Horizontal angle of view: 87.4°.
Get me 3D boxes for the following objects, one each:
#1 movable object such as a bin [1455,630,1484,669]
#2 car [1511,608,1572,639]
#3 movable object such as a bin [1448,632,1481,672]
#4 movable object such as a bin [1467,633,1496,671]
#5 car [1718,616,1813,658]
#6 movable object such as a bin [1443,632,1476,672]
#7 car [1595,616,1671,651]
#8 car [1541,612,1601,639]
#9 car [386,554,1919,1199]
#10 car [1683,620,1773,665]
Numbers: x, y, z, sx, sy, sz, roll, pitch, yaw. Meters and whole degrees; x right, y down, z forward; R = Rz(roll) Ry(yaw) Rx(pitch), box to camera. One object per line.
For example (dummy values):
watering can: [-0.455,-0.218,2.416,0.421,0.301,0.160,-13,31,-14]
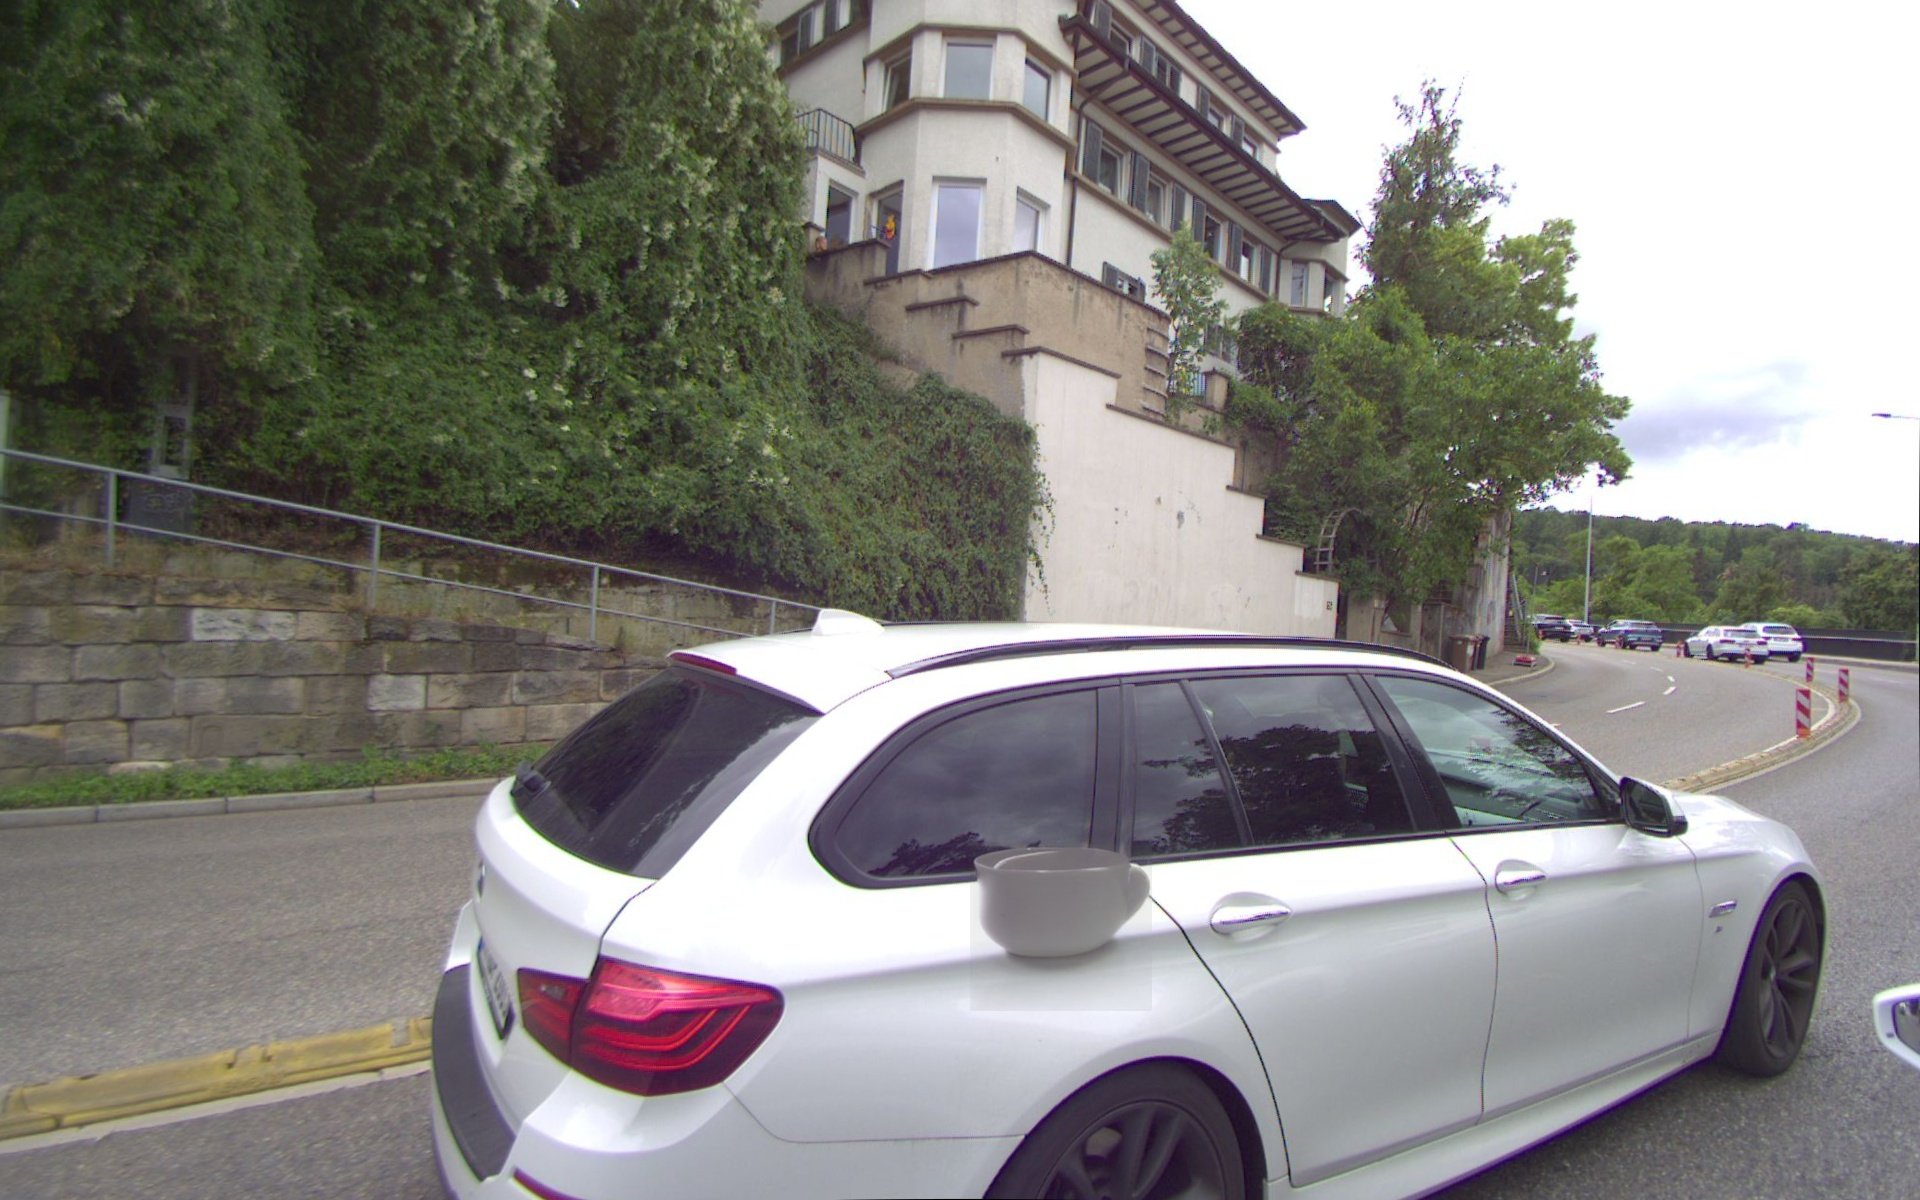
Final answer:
movable object such as a bin: [13.442,1.302,26.481,0.536,0.961,0.564,4,2,39]
car: [37.038,1.448,64.092,1.785,1.712,4.002,3,1,6]
movable object such as a bin: [13.009,1.333,25.891,0.599,0.961,0.578,4,2,39]
movable object such as a bin: [13.971,1.373,26.907,0.536,0.961,0.564,4,2,39]
car: [36.341,1.633,45.441,1.960,1.607,4.000,3,1,18]
movable object such as a bin: [12.662,1.304,25.443,0.599,0.961,0.554,4,2,39]
car: [35.655,1.730,53.305,1.960,1.561,4.012,3,1,13]
car: [40.476,1.689,66.667,1.667,1.546,3.534,3,1,-2]
car: [0.947,0.742,3.235,4.821,1.486,1.839,2,2,-30]
car: [31.918,1.706,41.889,1.875,1.595,3.999,4,1,22]
